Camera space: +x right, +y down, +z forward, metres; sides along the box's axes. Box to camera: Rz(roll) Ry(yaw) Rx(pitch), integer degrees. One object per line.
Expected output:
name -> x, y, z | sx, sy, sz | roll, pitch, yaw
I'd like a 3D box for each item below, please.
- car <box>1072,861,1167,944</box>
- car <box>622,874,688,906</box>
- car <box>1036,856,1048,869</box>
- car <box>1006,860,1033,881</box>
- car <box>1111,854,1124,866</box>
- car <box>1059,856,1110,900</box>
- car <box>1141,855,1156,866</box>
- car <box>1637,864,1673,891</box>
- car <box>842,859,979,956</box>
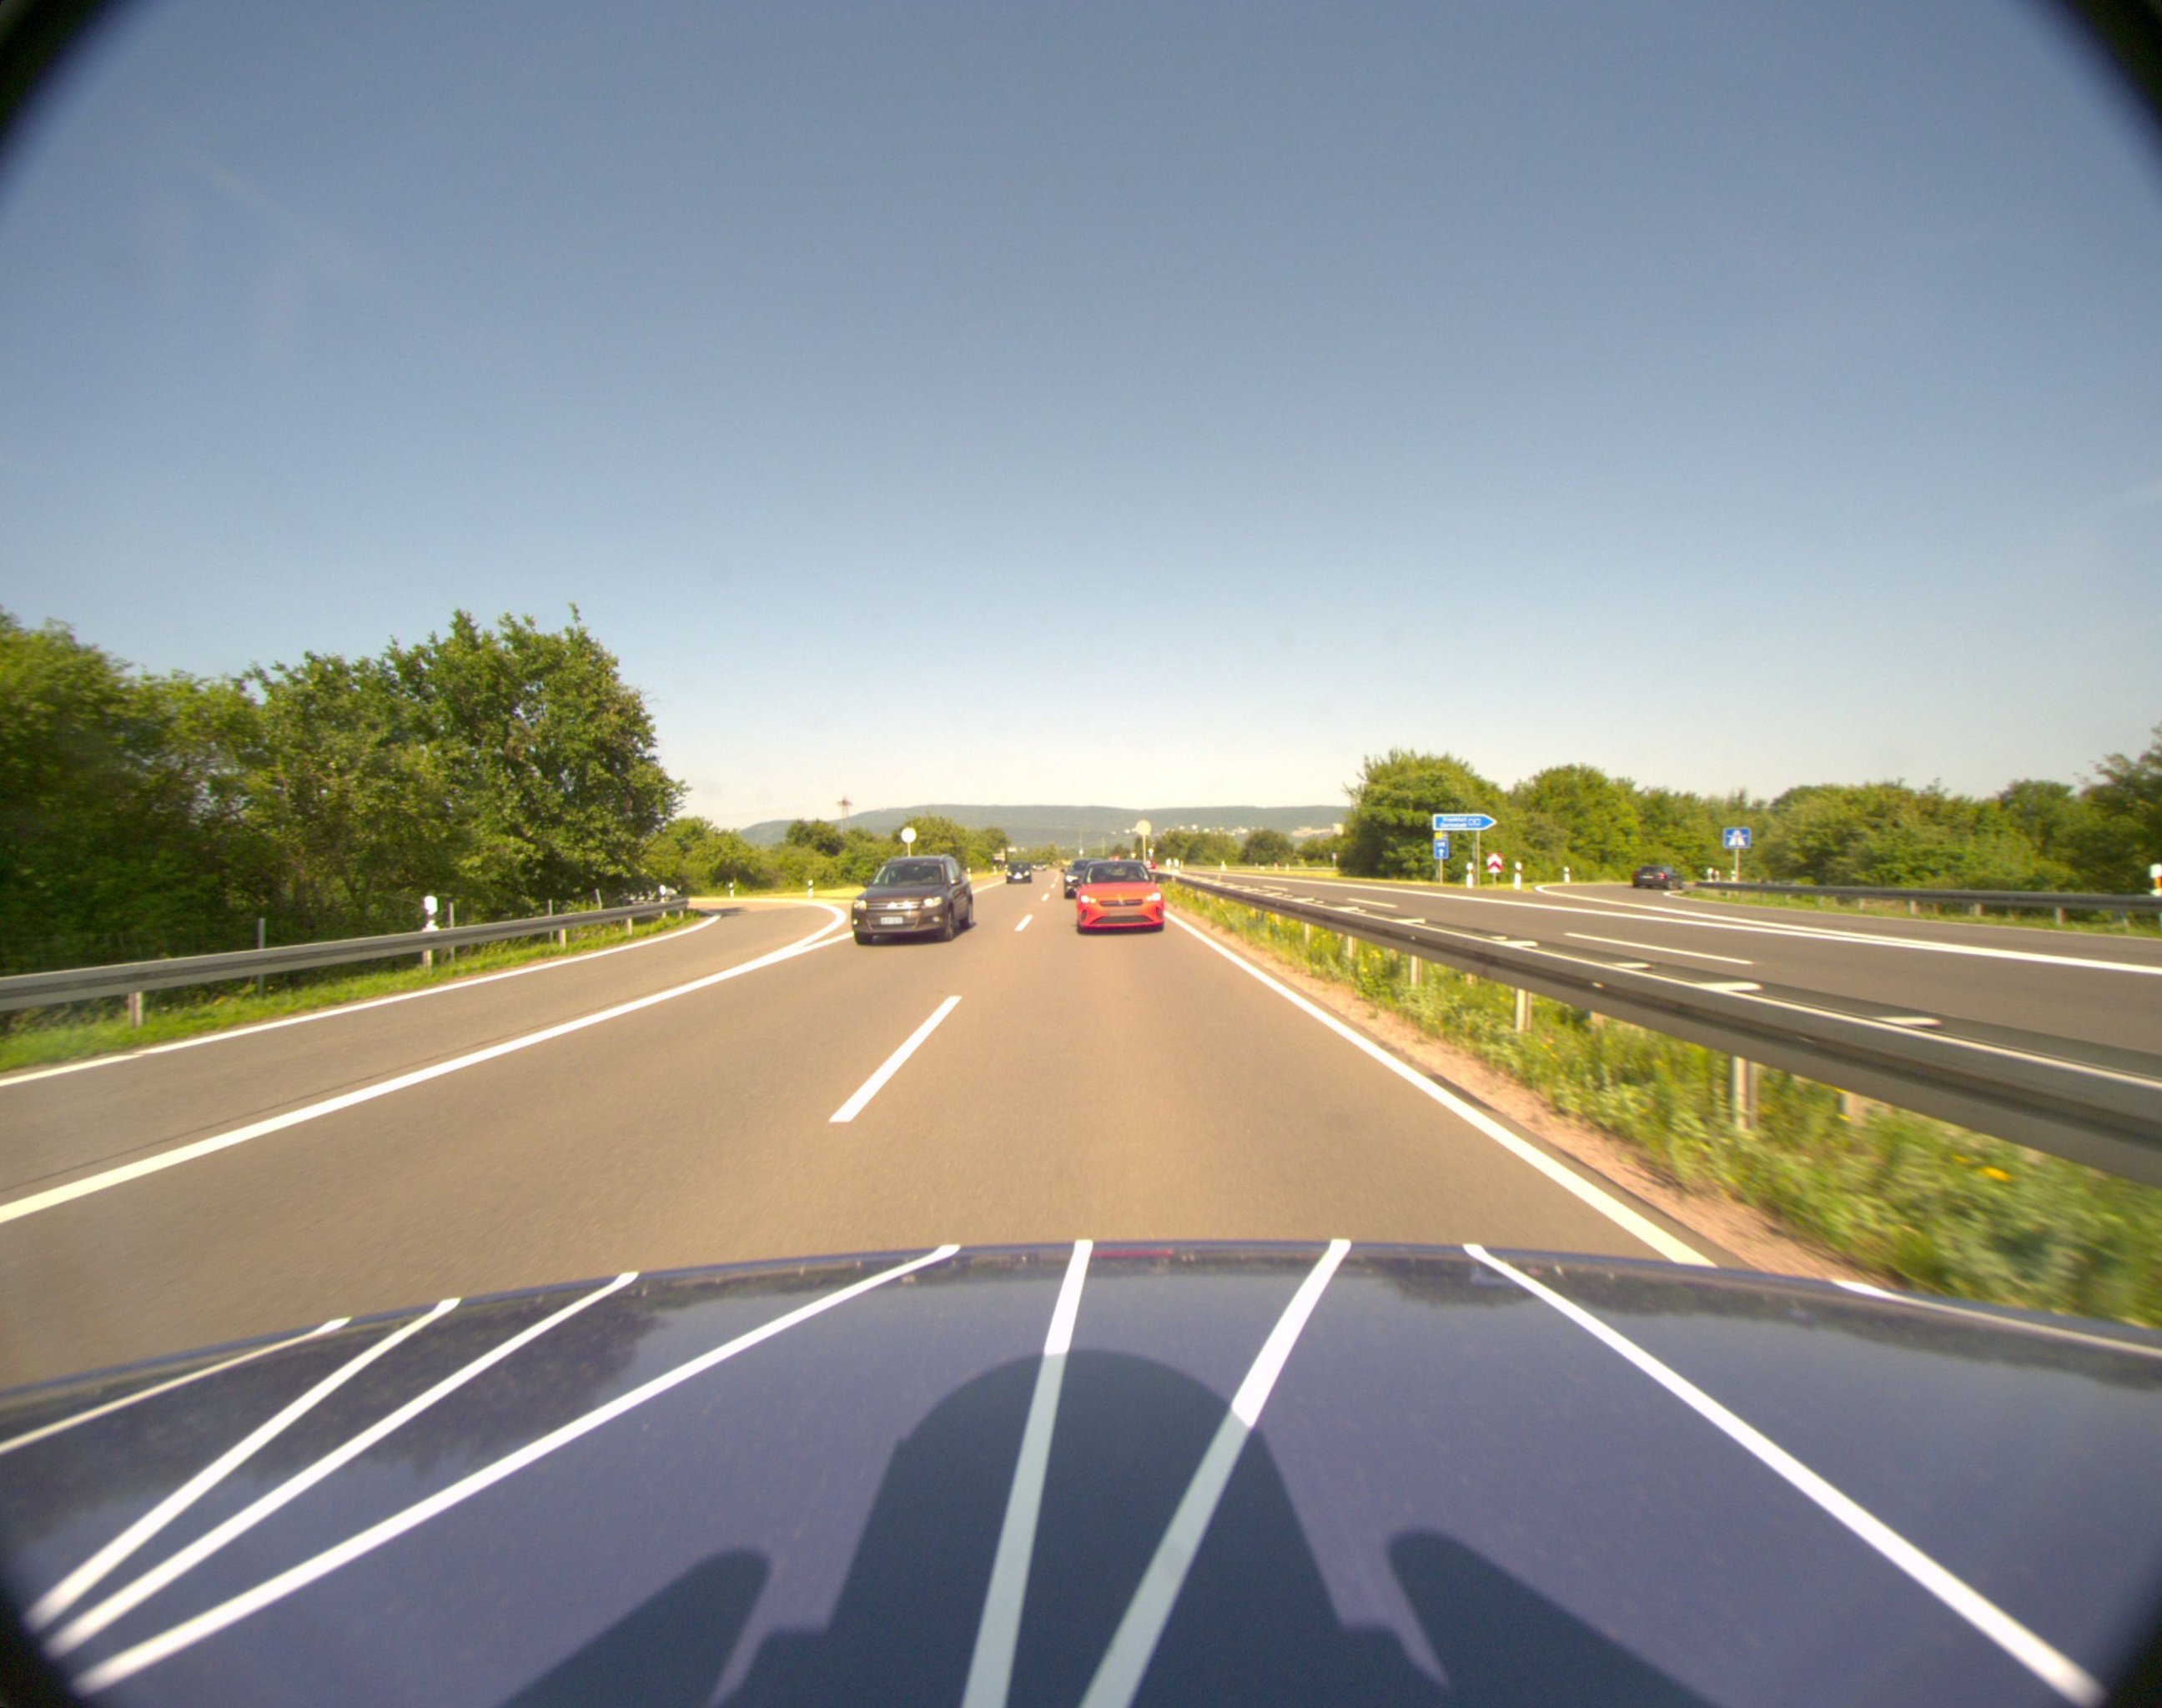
car -> 0.778, 0.934, 16.395 | 1.713, 1.429, 4.412 | -2, 0, 2
car -> -26.909, 2.246, 48.012 | 3.988, 1.657, 1.868 | 1, 4, 32
car -> -5.685, 1.222, 111.268 | 1.768, 1.652, 3.999 | -2, 0, -3
car -> -4.002, 1.067, 49.946 | 1.601, 1.241, 3.999 | -2, 0, -2
car -> 7.249, 1.170, 151.686 | 2.120, 2.361, 5.880 | -2, 0, -2
car -> 0.148, 0.888, 29.397 | 1.788, 1.524, 4.375 | -2, 0, 1
car -> 9.361, 0.875, 105.256 | 1.633, 1.449, 3.768 | -1, -1, -1
car -> 35.521, 1.449, 47.130 | 1.592, 1.485, 4.825 | 4, 1, 36
car -> -3.336, 0.972, 15.694 | 1.790, 1.637, 4.147 | -2, 0, 1
